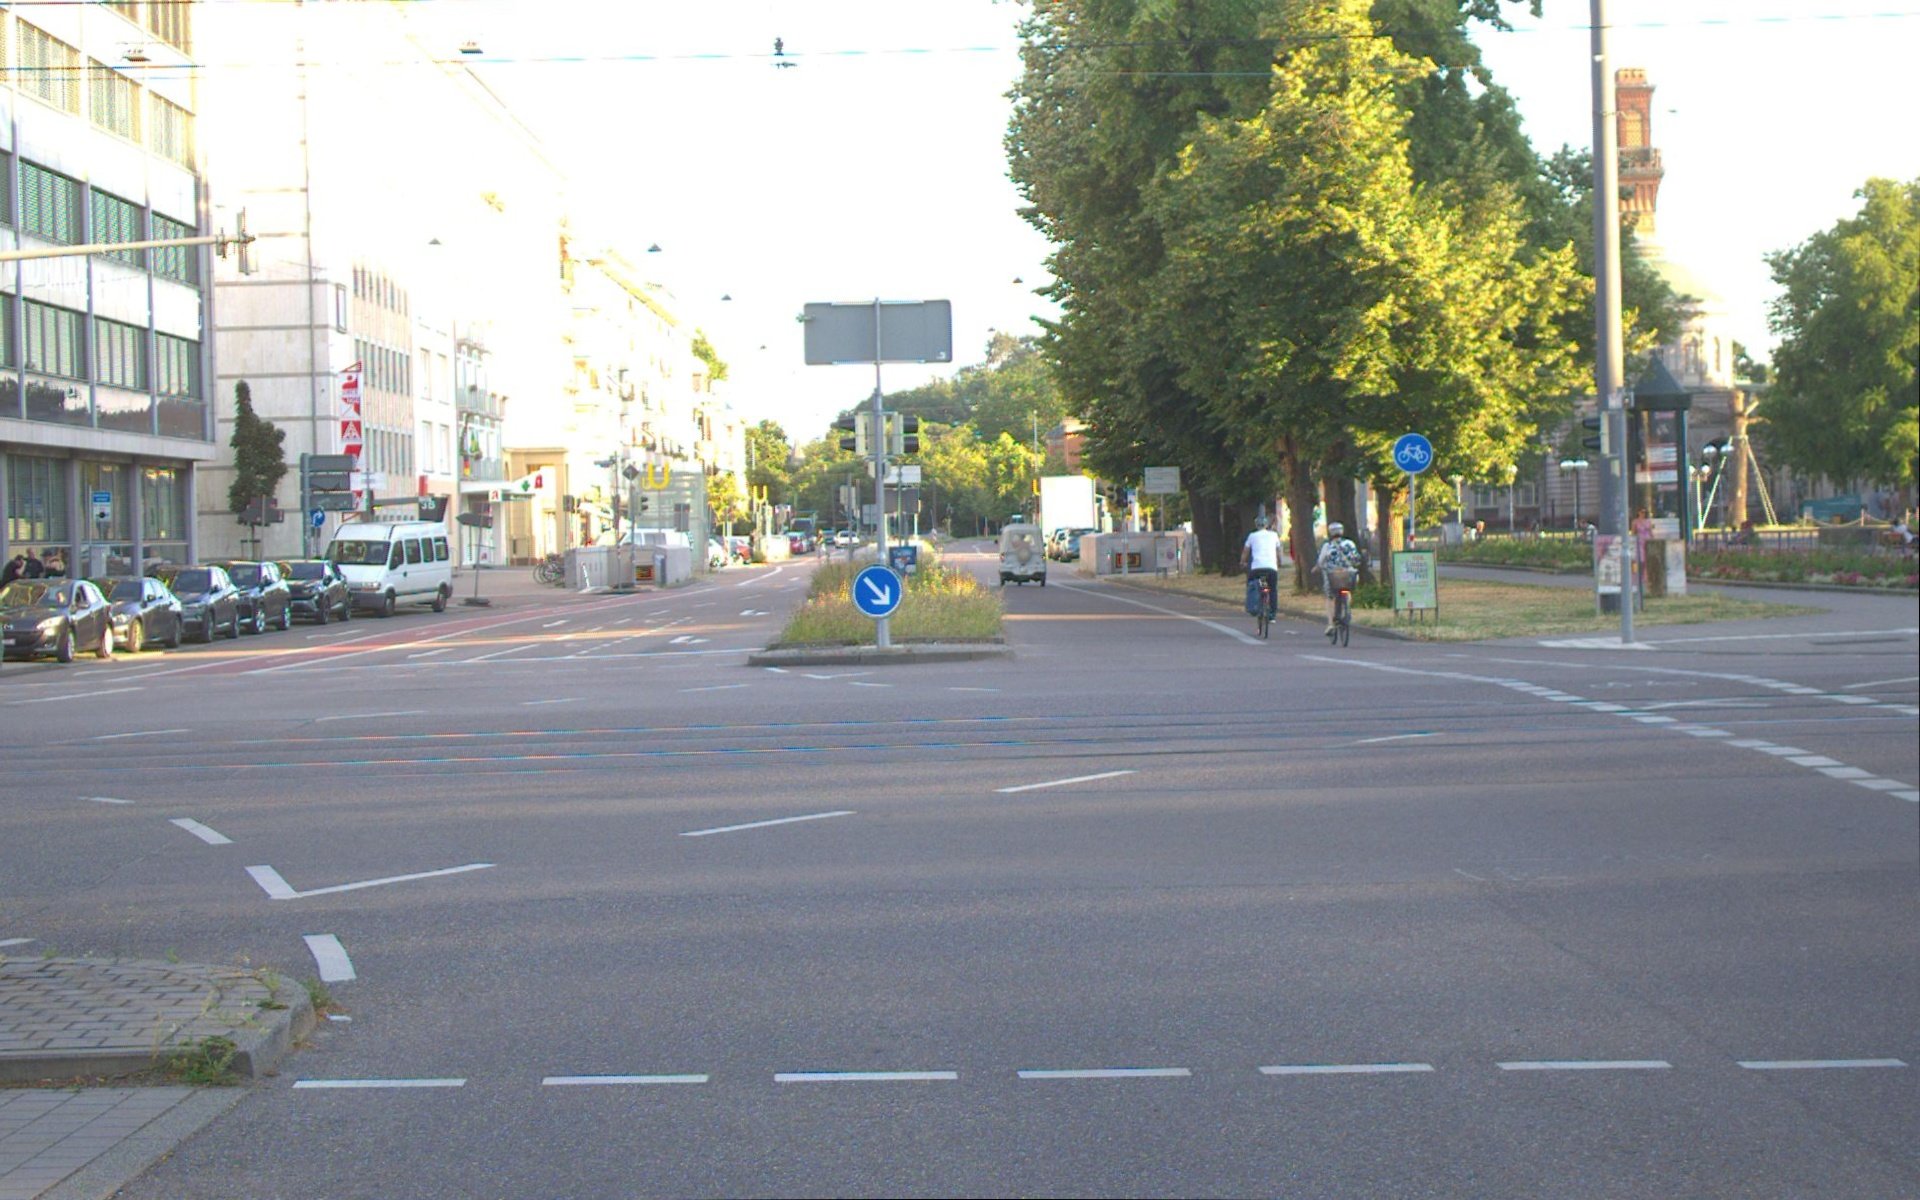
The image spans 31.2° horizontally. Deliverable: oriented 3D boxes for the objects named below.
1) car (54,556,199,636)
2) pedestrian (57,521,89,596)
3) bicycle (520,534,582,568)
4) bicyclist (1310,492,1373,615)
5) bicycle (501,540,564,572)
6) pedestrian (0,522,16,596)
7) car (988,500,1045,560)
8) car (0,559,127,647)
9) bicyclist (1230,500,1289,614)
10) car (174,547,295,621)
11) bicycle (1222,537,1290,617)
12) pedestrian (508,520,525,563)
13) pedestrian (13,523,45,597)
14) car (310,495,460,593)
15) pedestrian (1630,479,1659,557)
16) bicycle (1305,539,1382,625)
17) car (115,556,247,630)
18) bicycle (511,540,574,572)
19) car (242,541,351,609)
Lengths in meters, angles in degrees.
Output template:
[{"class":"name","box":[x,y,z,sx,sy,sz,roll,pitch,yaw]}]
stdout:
[{"class":"car","box":[-16.556,-0.109,68.439,1.920,1.459,4.000,-1,1,-1]},{"class":"pedestrian","box":[-20.130,-0.946,77.984,0.551,1.673,0.500,-1,1,-1]},{"class":"bicycle","box":[-15.345,-1.849,128.893,2.205,1.232,0.839,-1,1,-2]},{"class":"bicyclist","box":[5.337,-0.655,48.096,0.746,1.685,0.799,-1,1,-1]},{"class":"bicycle","box":[-15.583,-1.612,125.462,2.205,1.108,0.619,-1,1,-2]},{"class":"pedestrian","box":[-21.813,-0.927,78.081,0.551,1.673,0.500,-1,1,-1]},{"class":"car","box":[1.596,-1.996,98.049,1.408,1.636,4.001,-1,1,-2]},{"class":"car","box":[-16.469,0.040,61.926,1.920,1.459,4.104,-1,1,-1]},{"class":"bicyclist","box":[4.463,-0.647,51.252,0.746,1.658,0.873,-1,1,-1]},{"class":"car","box":[-16.533,-0.388,78.554,1.920,1.563,4.000,-1,1,-1]},{"class":"bicycle","box":[4.434,-0.362,51.586,0.746,1.140,2.505,-1,1,-1]},{"class":"pedestrian","box":[-21.270,-2.801,164.855,0.680,2.007,0.545,-2,1,0]},{"class":"pedestrian","box":[-21.196,-0.919,78.243,0.551,1.673,0.500,-1,1,-1]},{"class":"car","box":[-15.196,-1.524,91.210,2.002,2.469,5.866,-1,1,10]},{"class":"pedestrian","box":[14.729,-1.769,73.990,0.460,1.651,0.567,-1,1,-1]},{"class":"bicycle","box":[5.349,-0.270,48.098,0.746,1.140,2.505,-1,1,-1]},{"class":"car","box":[-16.558,-0.170,73.253,1.920,1.459,4.000,-1,1,-1]},{"class":"bicycle","box":[-15.394,-1.637,126.828,2.205,1.108,0.689,-1,1,-2]},{"class":"car","box":[-16.332,-0.638,84.780,1.920,1.563,4.000,-1,1,-1]}]
